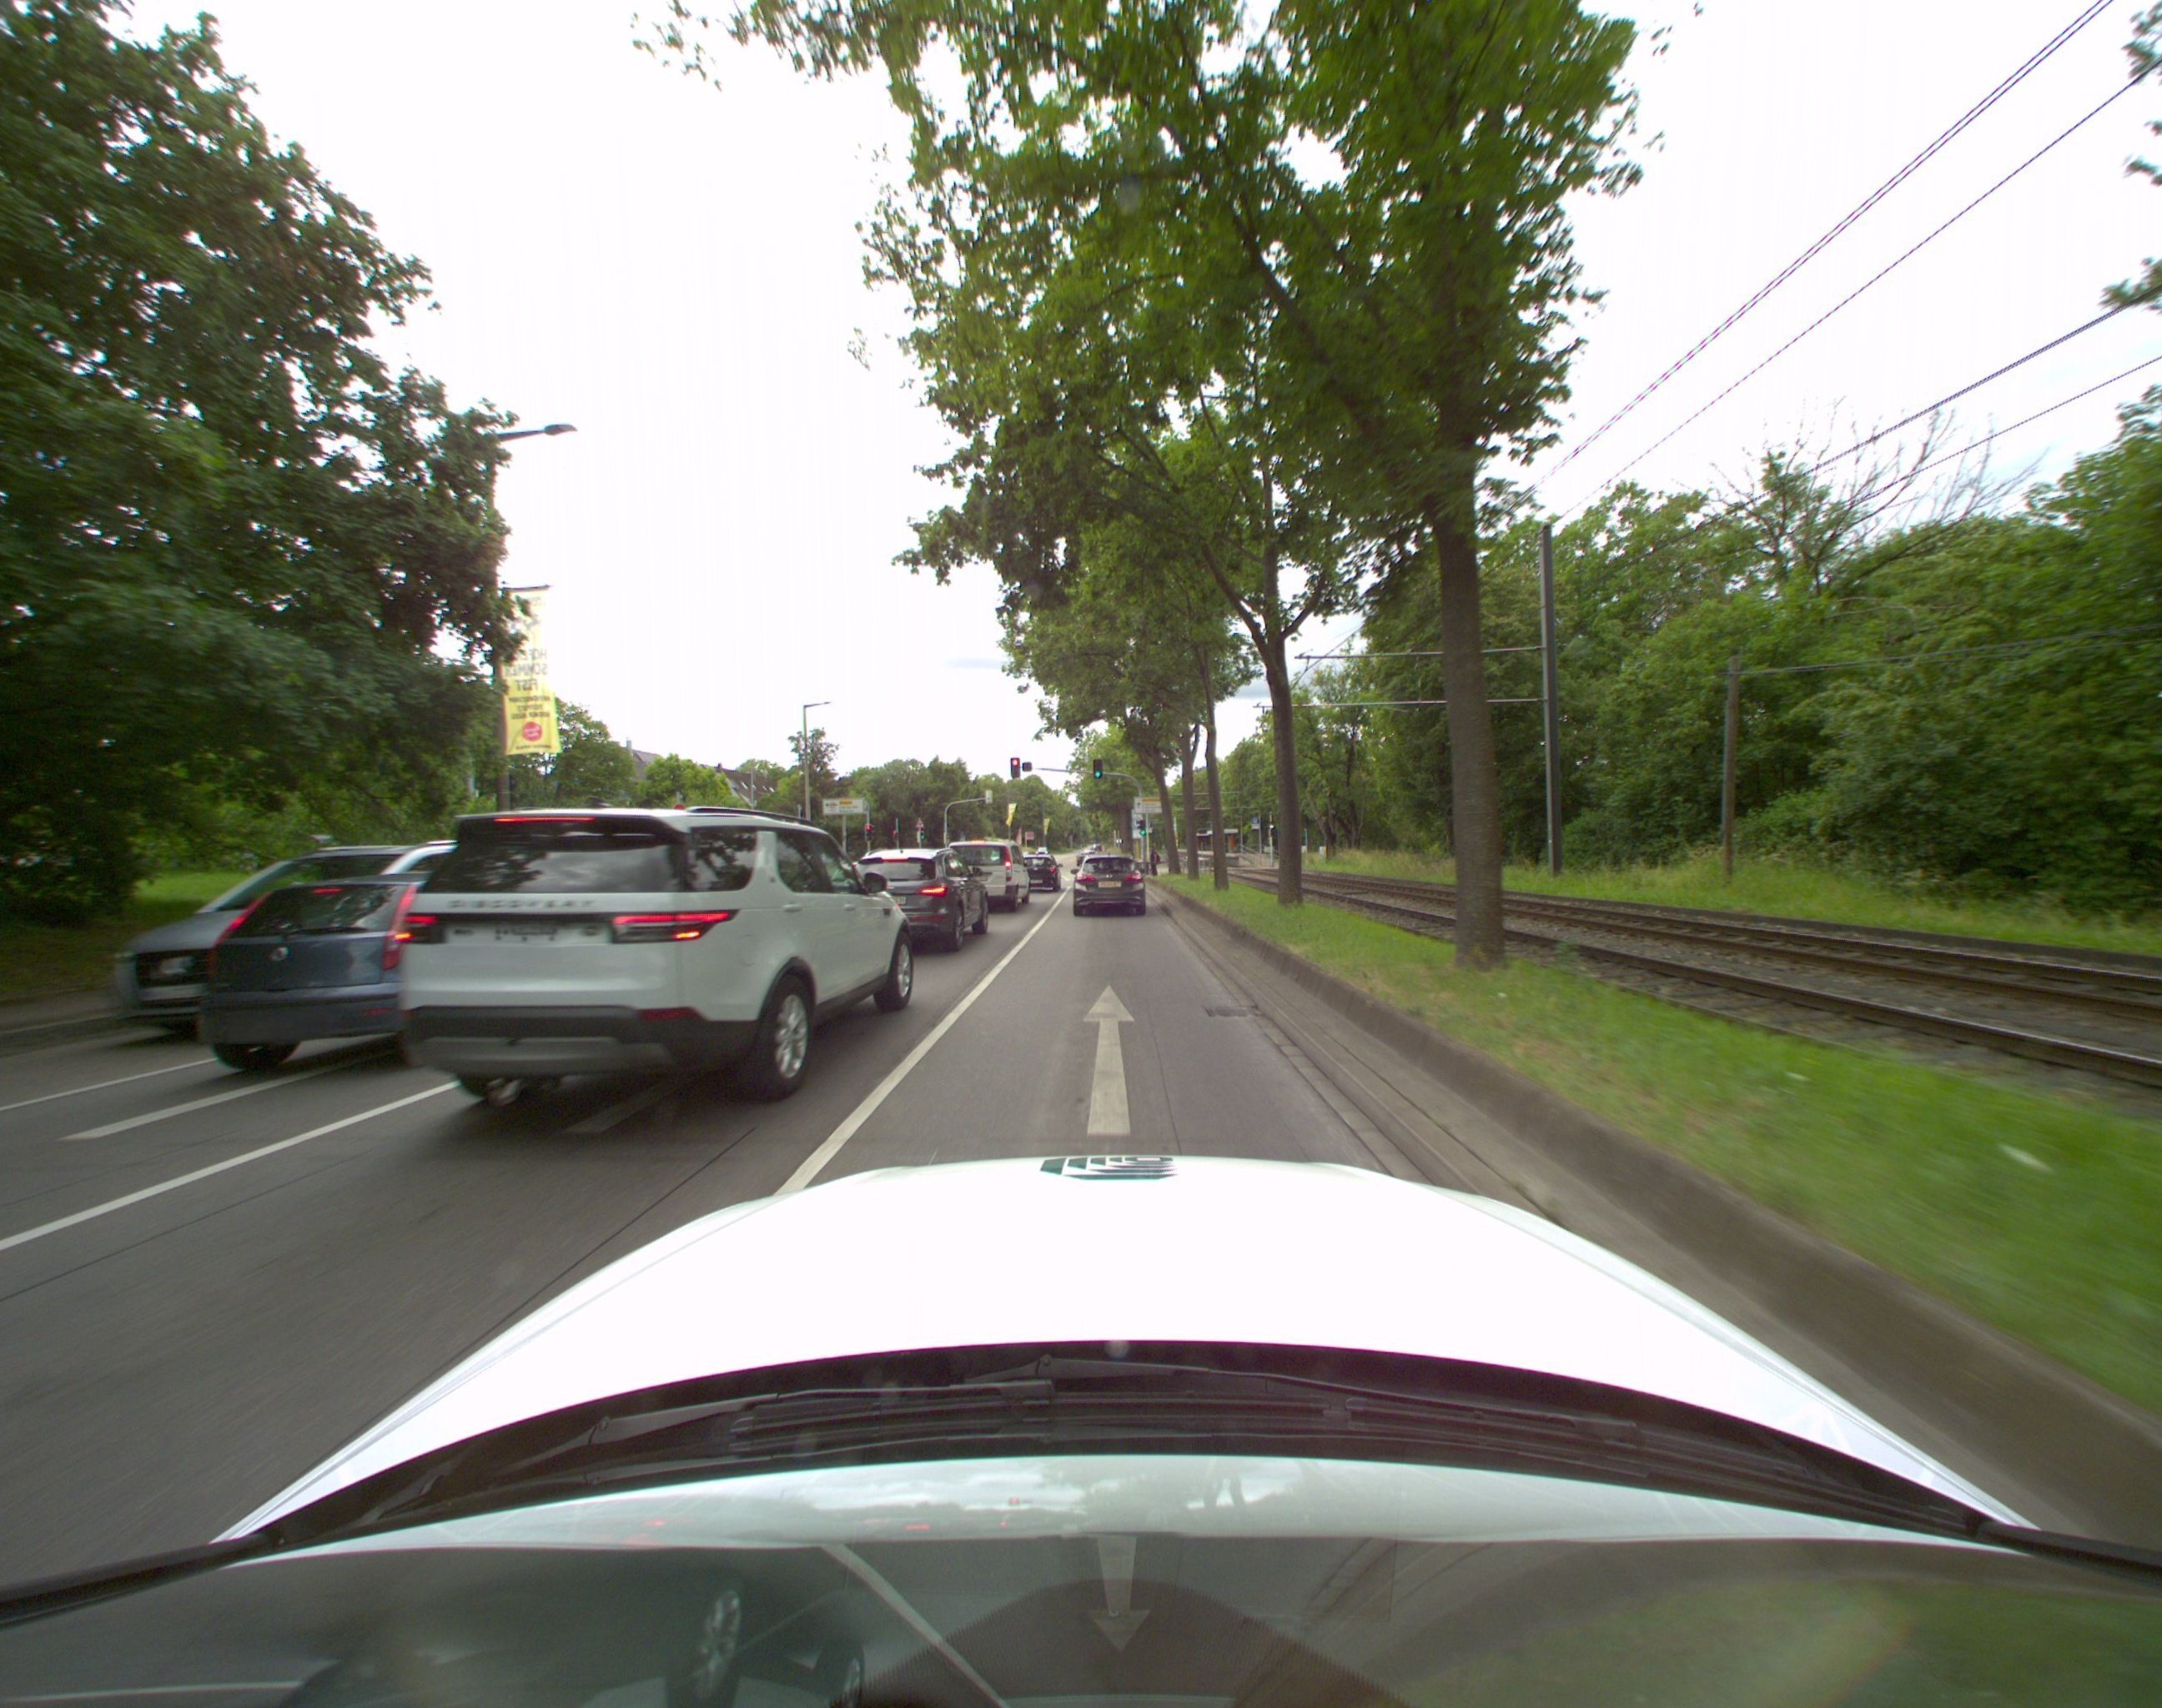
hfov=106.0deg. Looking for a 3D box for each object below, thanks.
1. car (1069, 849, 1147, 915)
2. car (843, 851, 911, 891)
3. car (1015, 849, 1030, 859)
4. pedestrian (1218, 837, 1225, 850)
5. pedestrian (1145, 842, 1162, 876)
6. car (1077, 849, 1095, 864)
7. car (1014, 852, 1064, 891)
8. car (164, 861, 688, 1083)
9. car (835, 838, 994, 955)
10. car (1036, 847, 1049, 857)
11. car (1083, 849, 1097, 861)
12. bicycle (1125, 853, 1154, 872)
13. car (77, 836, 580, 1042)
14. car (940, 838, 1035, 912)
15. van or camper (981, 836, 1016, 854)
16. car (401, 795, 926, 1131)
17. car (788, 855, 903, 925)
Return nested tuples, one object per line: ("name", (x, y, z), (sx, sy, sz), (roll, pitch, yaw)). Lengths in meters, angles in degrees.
("car", (0.747, 0.649, 21.093), (1.829, 1.528, 3.933), (0, 0, 3))
("car", (-8.330, 0.668, 33.586), (1.733, 1.538, 3.911), (0, 0, 1))
("car", (-8.154, 0.004, 113.633), (1.736, 1.464, 4.342), (1, 0, 0))
("pedestrian", (16.274, -1.188, 94.294), (0.715, 1.511, 0.725), (1, 0, 4))
("pedestrian", (3.849, 0.264, 43.193), (0.748, 1.737, 0.841), (-4, 0, 6))
("car", (0.507, 0.240, 85.511), (1.703, 1.475, 3.675), (0, 0, 3))
("car", (-1.645, 0.672, 32.998), (1.697, 1.480, 3.669), (-1, 0, 2))
("car", (-5.621, 0.864, 7.757), (1.585, 1.468, 3.932), (-3, 0, 3))
("car", (-2.712, 0.641, 14.326), (1.744, 1.718, 4.336), (-1, 0, 2))
("car", (-6.611, -0.397, 140.537), (1.896, 1.678, 5.079), (-1, 0, 0))
("car", (1.168, 0.095, 102.920), (1.497, 1.528, 3.675), (0, 0, 3))
("bicycle", (3.704, 0.543, 51.682), (1.670, 1.090, 0.601), (-4, 0, -3))
("car", (-8.300, 0.778, 9.720), (1.785, 1.831, 4.410), (-2, 0, 1))
("car", (-2.516, 0.525, 23.155), (1.900, 1.843, 5.284), (-1, 0, 2))
("van or camper", (-17.930, -1.892, 177.200), (7.115, 3.370, 2.797), (4, 1, 1))
("car", (-2.677, 0.587, 6.630), (1.796, 1.795, 4.505), (0, 0, 2))
("car", (-5.728, 0.817, 20.261), (1.550, 1.466, 3.809), (-3, 0, 2))
